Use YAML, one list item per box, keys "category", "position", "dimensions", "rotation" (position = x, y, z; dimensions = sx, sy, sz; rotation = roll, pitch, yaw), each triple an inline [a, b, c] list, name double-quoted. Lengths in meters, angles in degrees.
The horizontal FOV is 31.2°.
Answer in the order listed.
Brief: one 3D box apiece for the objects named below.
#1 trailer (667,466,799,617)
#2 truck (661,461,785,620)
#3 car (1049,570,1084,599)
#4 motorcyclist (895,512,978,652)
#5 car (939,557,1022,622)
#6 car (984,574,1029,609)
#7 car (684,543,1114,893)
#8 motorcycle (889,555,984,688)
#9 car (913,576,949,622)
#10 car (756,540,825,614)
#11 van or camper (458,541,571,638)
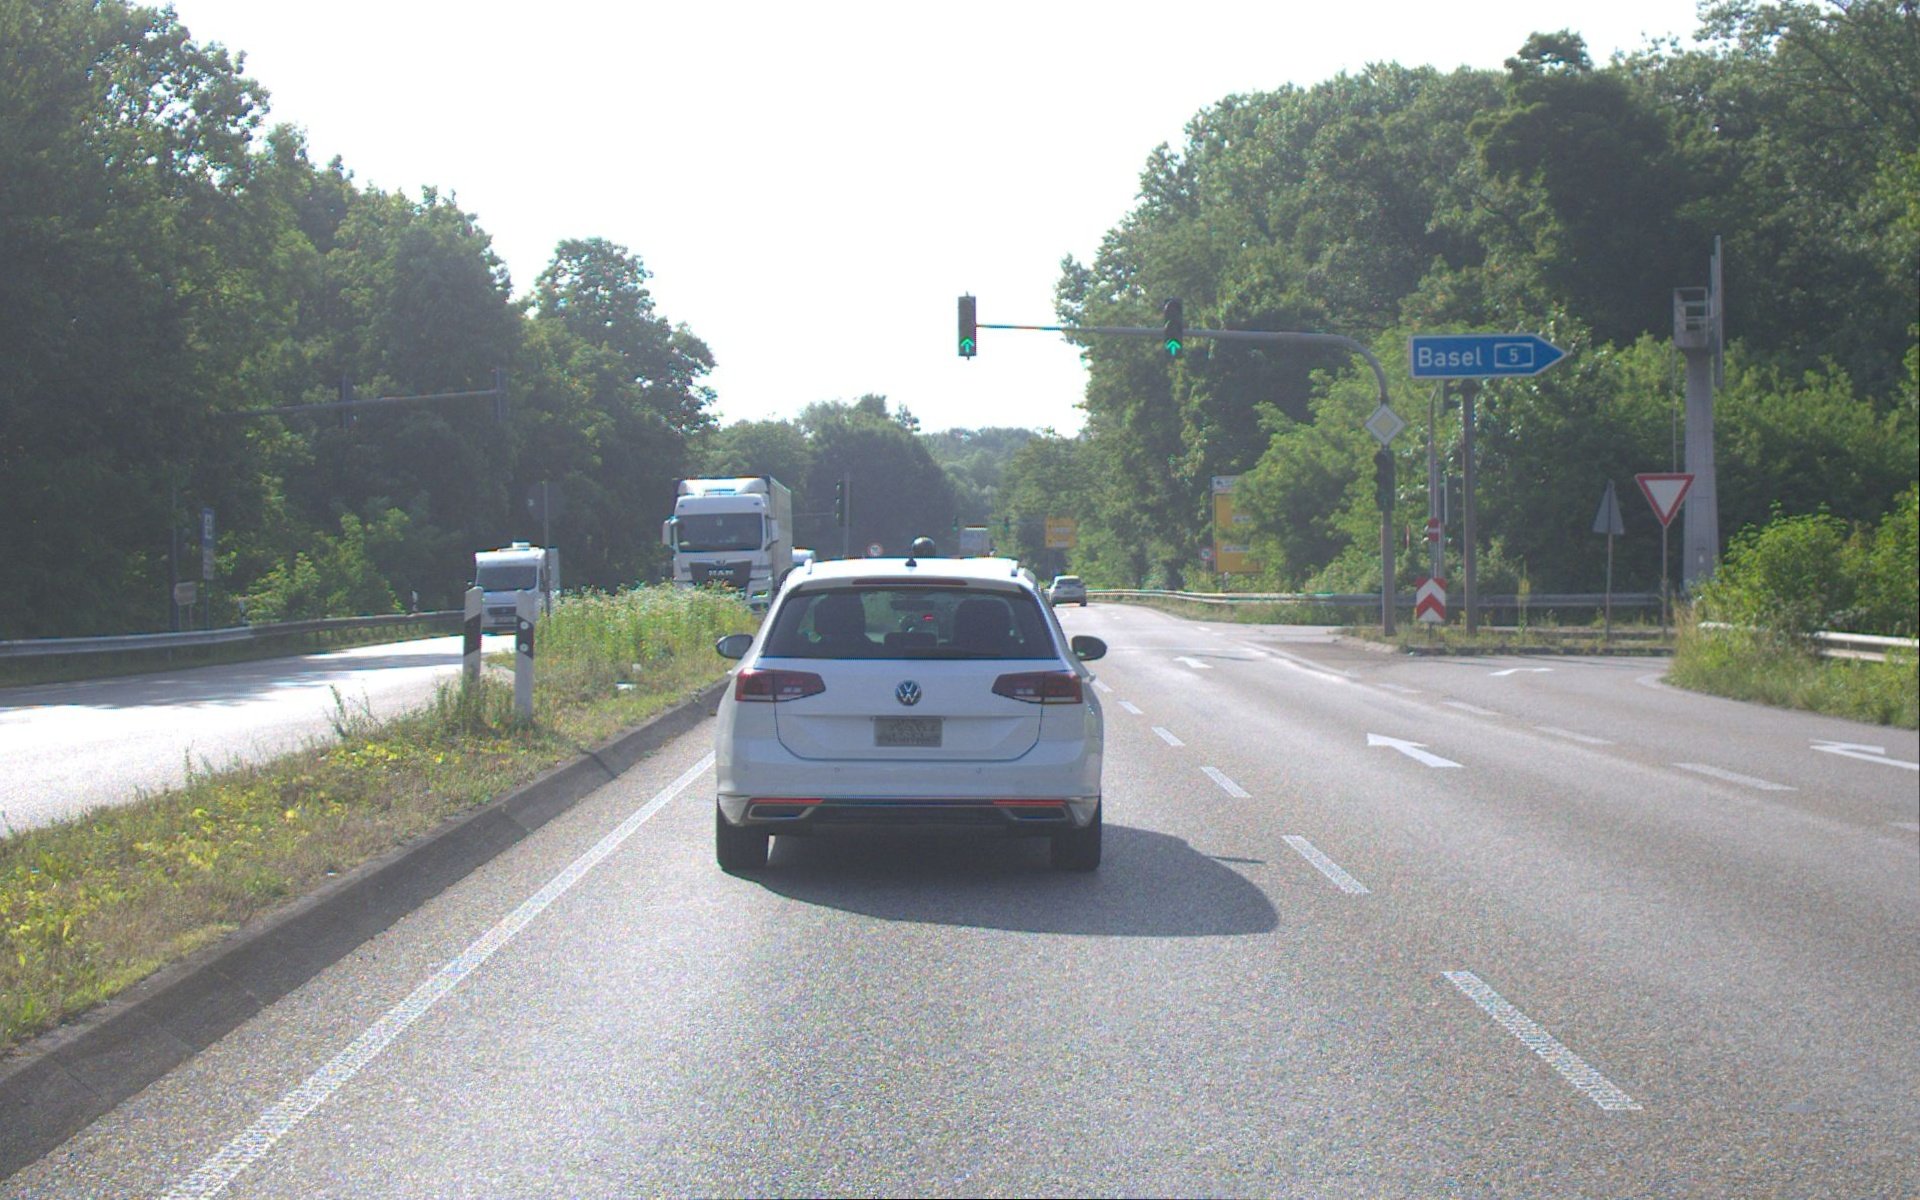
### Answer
- category: "trailer"
  position: [-6.346, -1.626, 98.242]
  dimensions: [2.991, 3.982, 14.014]
  rotation: [1, 1, -1]
- category: "truck"
  position: [-6.190, -1.550, 90.614]
  dimensions: [2.890, 3.984, 6.722]
  rotation: [1, 1, -1]
- category: "car"
  position: [5.614, -0.832, 182.257]
  dimensions: [1.761, 1.375, 3.972]
  rotation: [-2, 2, 1]
- category: "motorcyclist"
  position: [-0.269, -0.214, 40.513]
  dimensions: [0.884, 1.610, 1.290]
  rotation: [1, 0, 2]
- category: "car"
  position: [0.475, -0.240, 76.107]
  dimensions: [1.761, 1.375, 3.971]
  rotation: [1, 1, 1]
- category: "car"
  position: [1.866, -0.349, 137.190]
  dimensions: [1.761, 1.375, 3.971]
  rotation: [1, 1, 1]
- category: "car"
  position: [-0.235, 0.486, 17.385]
  dimensions: [1.870, 1.516, 4.834]
  rotation: [0, 1, 1]
- category: "motorcycle"
  position: [-0.263, 0.233, 40.493]
  dimensions: [0.909, 1.448, 2.689]
  rotation: [-4, 1, 2]
- category: "car"
  position: [-1.866, -0.115, 225.416]
  dimensions: [2.210, 2.879, 7.011]
  rotation: [-2, 1, 0]
- category: "car"
  position: [-6.054, -0.828, 123.203]
  dimensions: [2.075, 2.525, 6.164]
  rotation: [-2, 1, 0]
- category: "van or camper"
  position: [-13.419, -0.330, 104.003]
  dimensions: [2.413, 2.701, 6.437]
  rotation: [-3, 0, 0]
